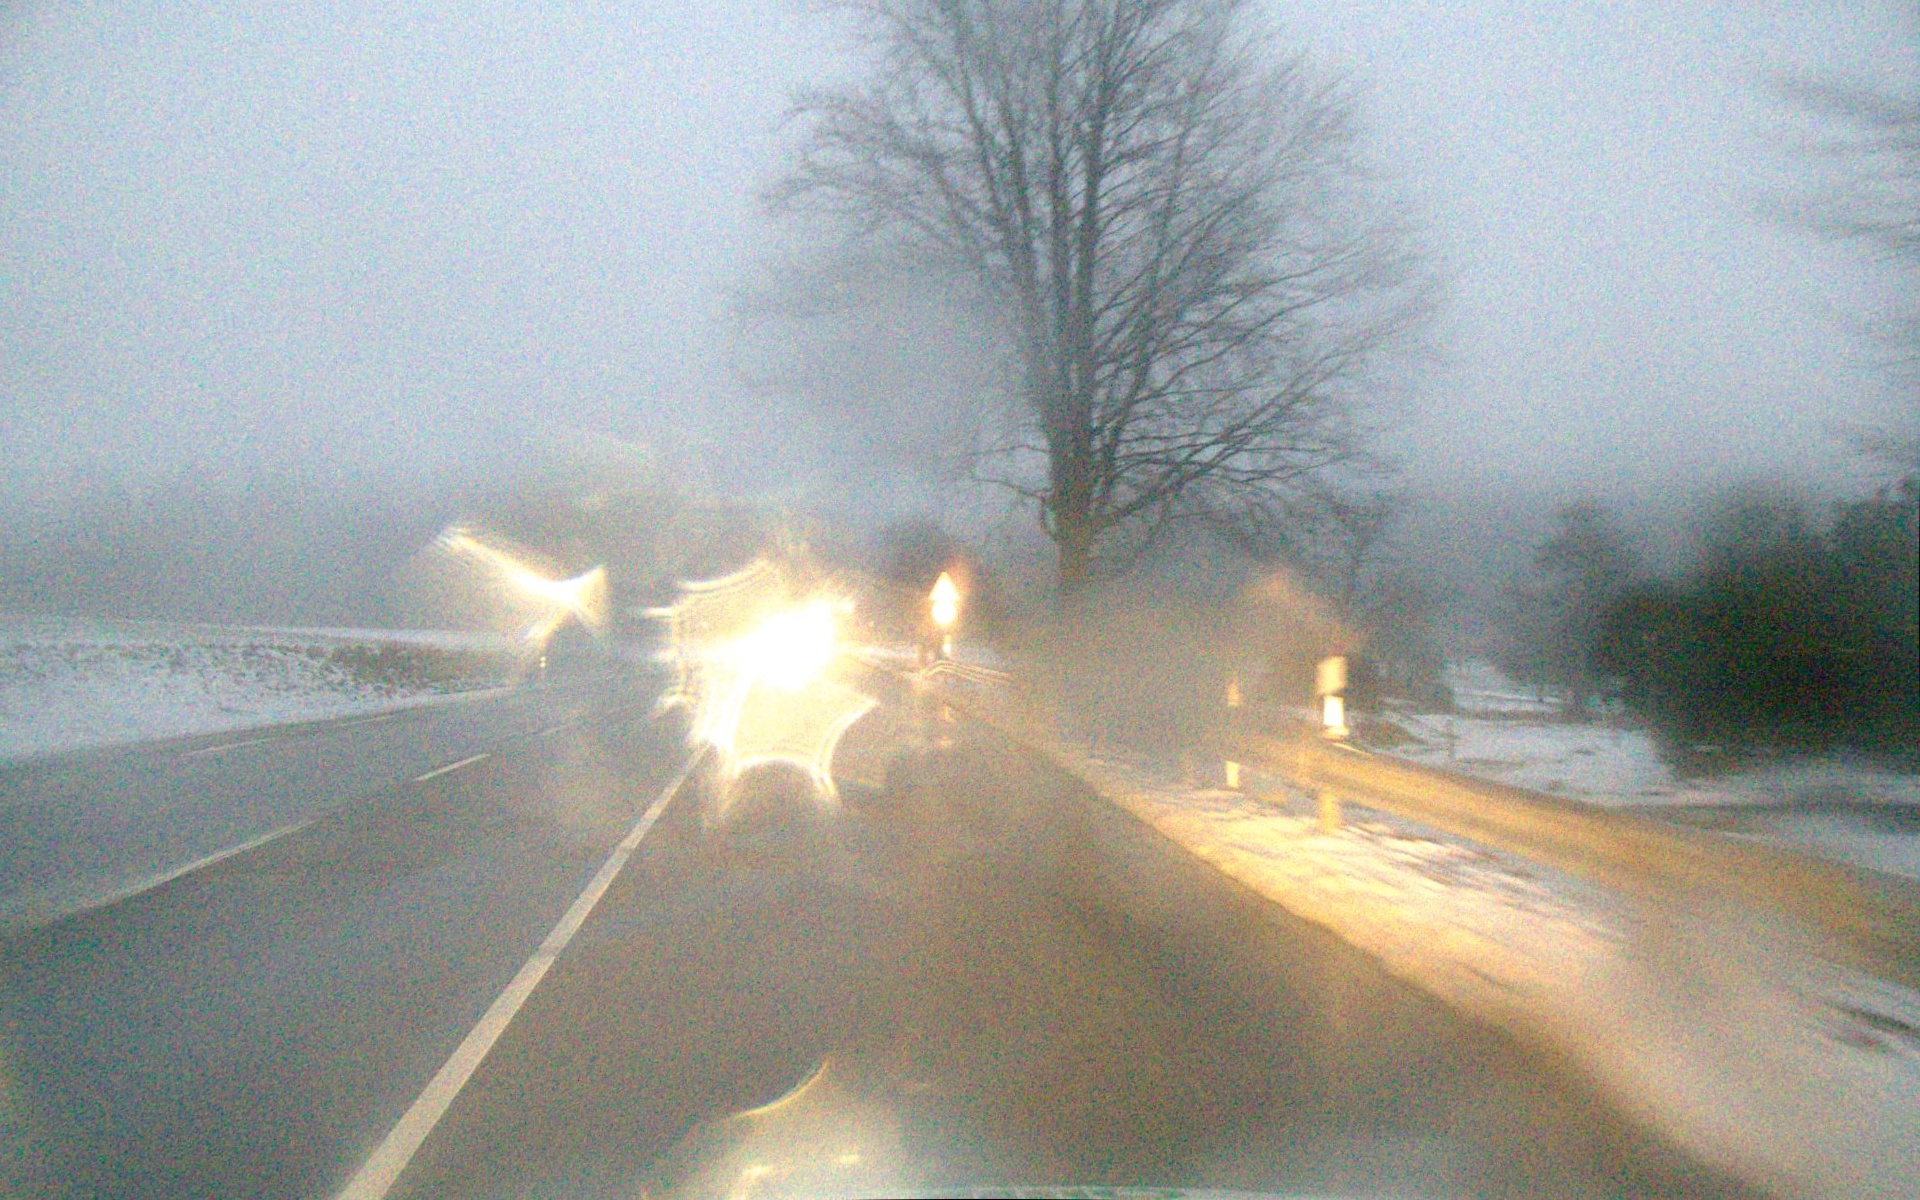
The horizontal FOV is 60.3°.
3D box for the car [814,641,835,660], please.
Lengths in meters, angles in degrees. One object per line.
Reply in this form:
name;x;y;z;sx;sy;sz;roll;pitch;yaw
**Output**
car;-12.089;4.463;147.748;1.658;1.579;3.854;1;0;-2
